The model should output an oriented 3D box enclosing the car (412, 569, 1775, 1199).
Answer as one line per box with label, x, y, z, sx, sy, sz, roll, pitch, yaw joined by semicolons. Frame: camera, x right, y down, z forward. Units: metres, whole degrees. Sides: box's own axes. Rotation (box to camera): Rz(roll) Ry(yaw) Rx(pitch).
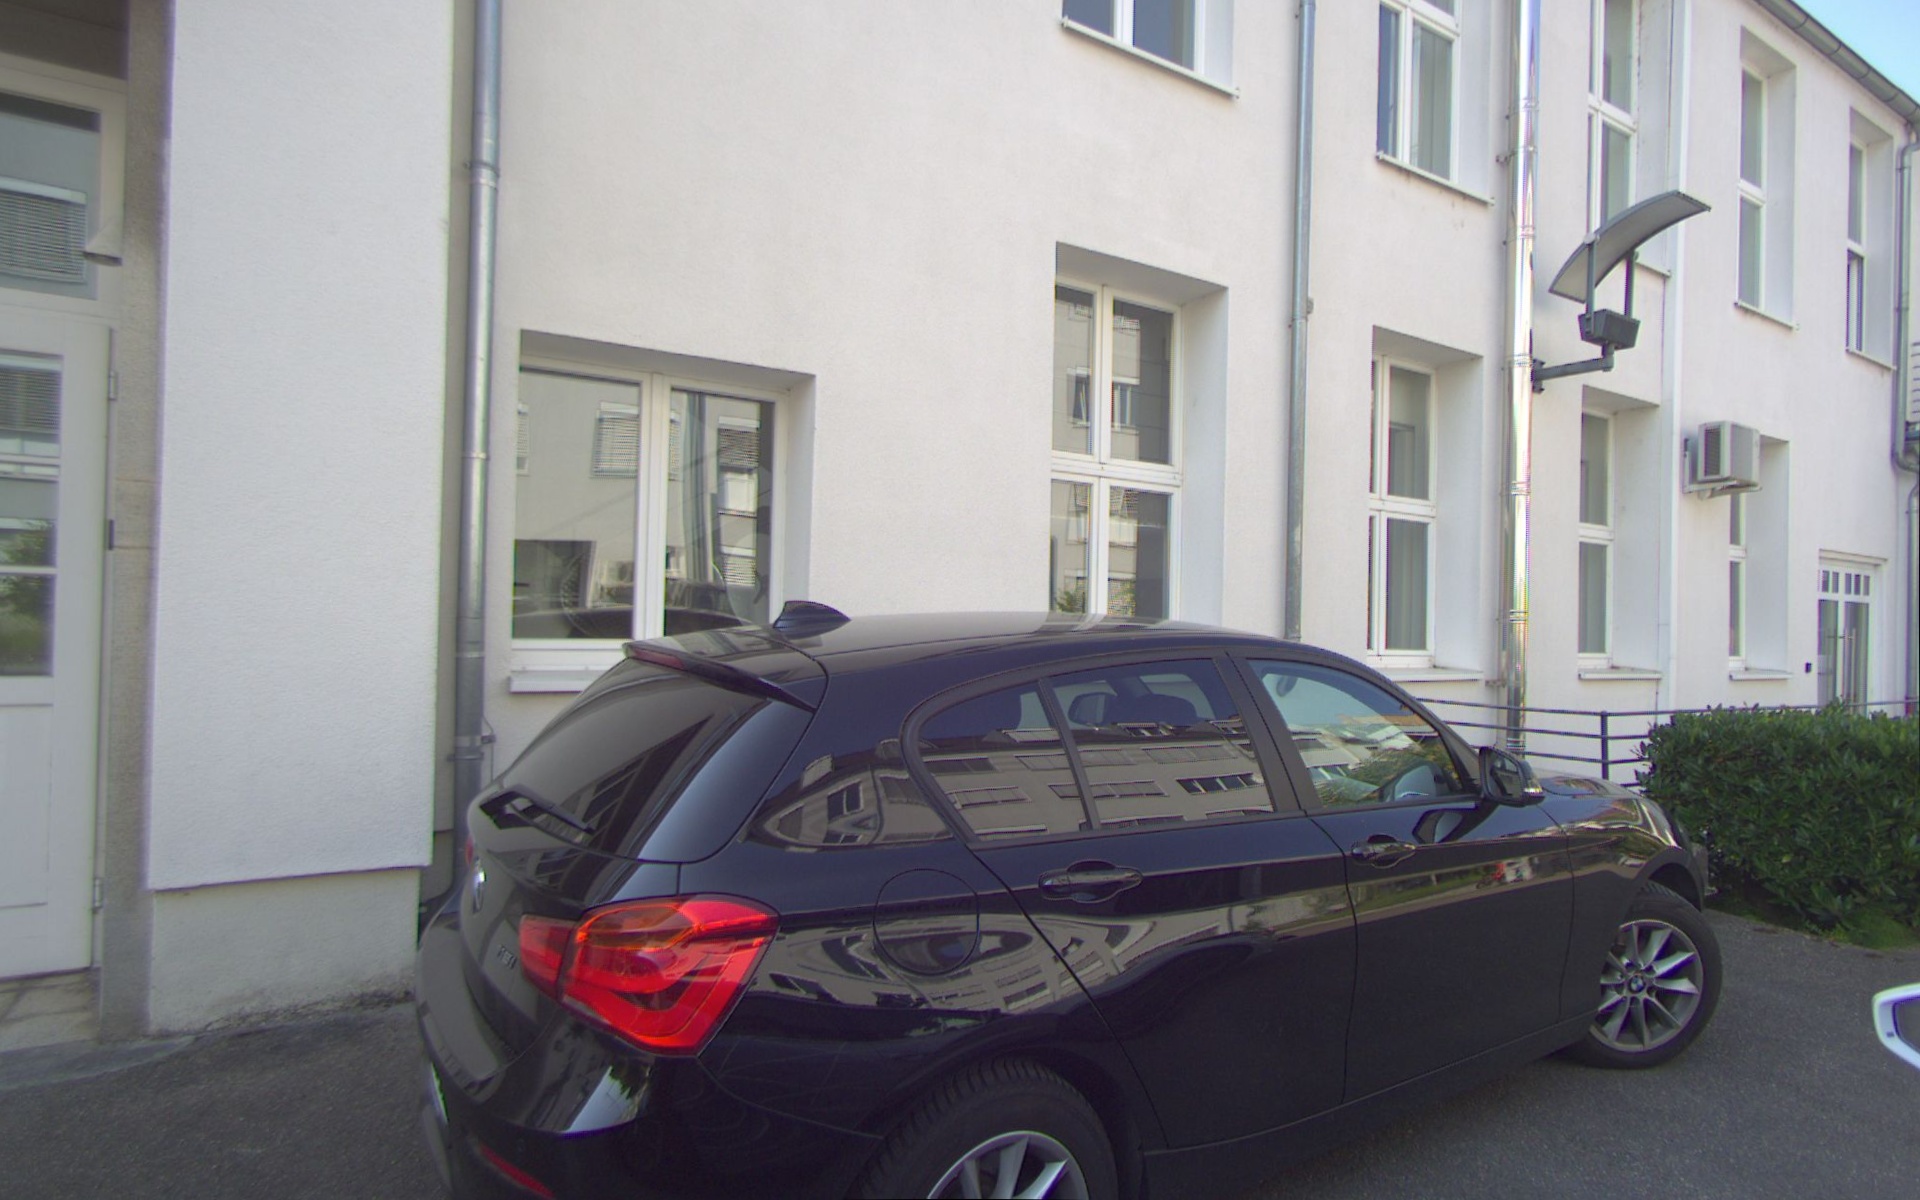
car;0.690;0.730;3.160;4.093;1.447;1.782;2;0;-34
